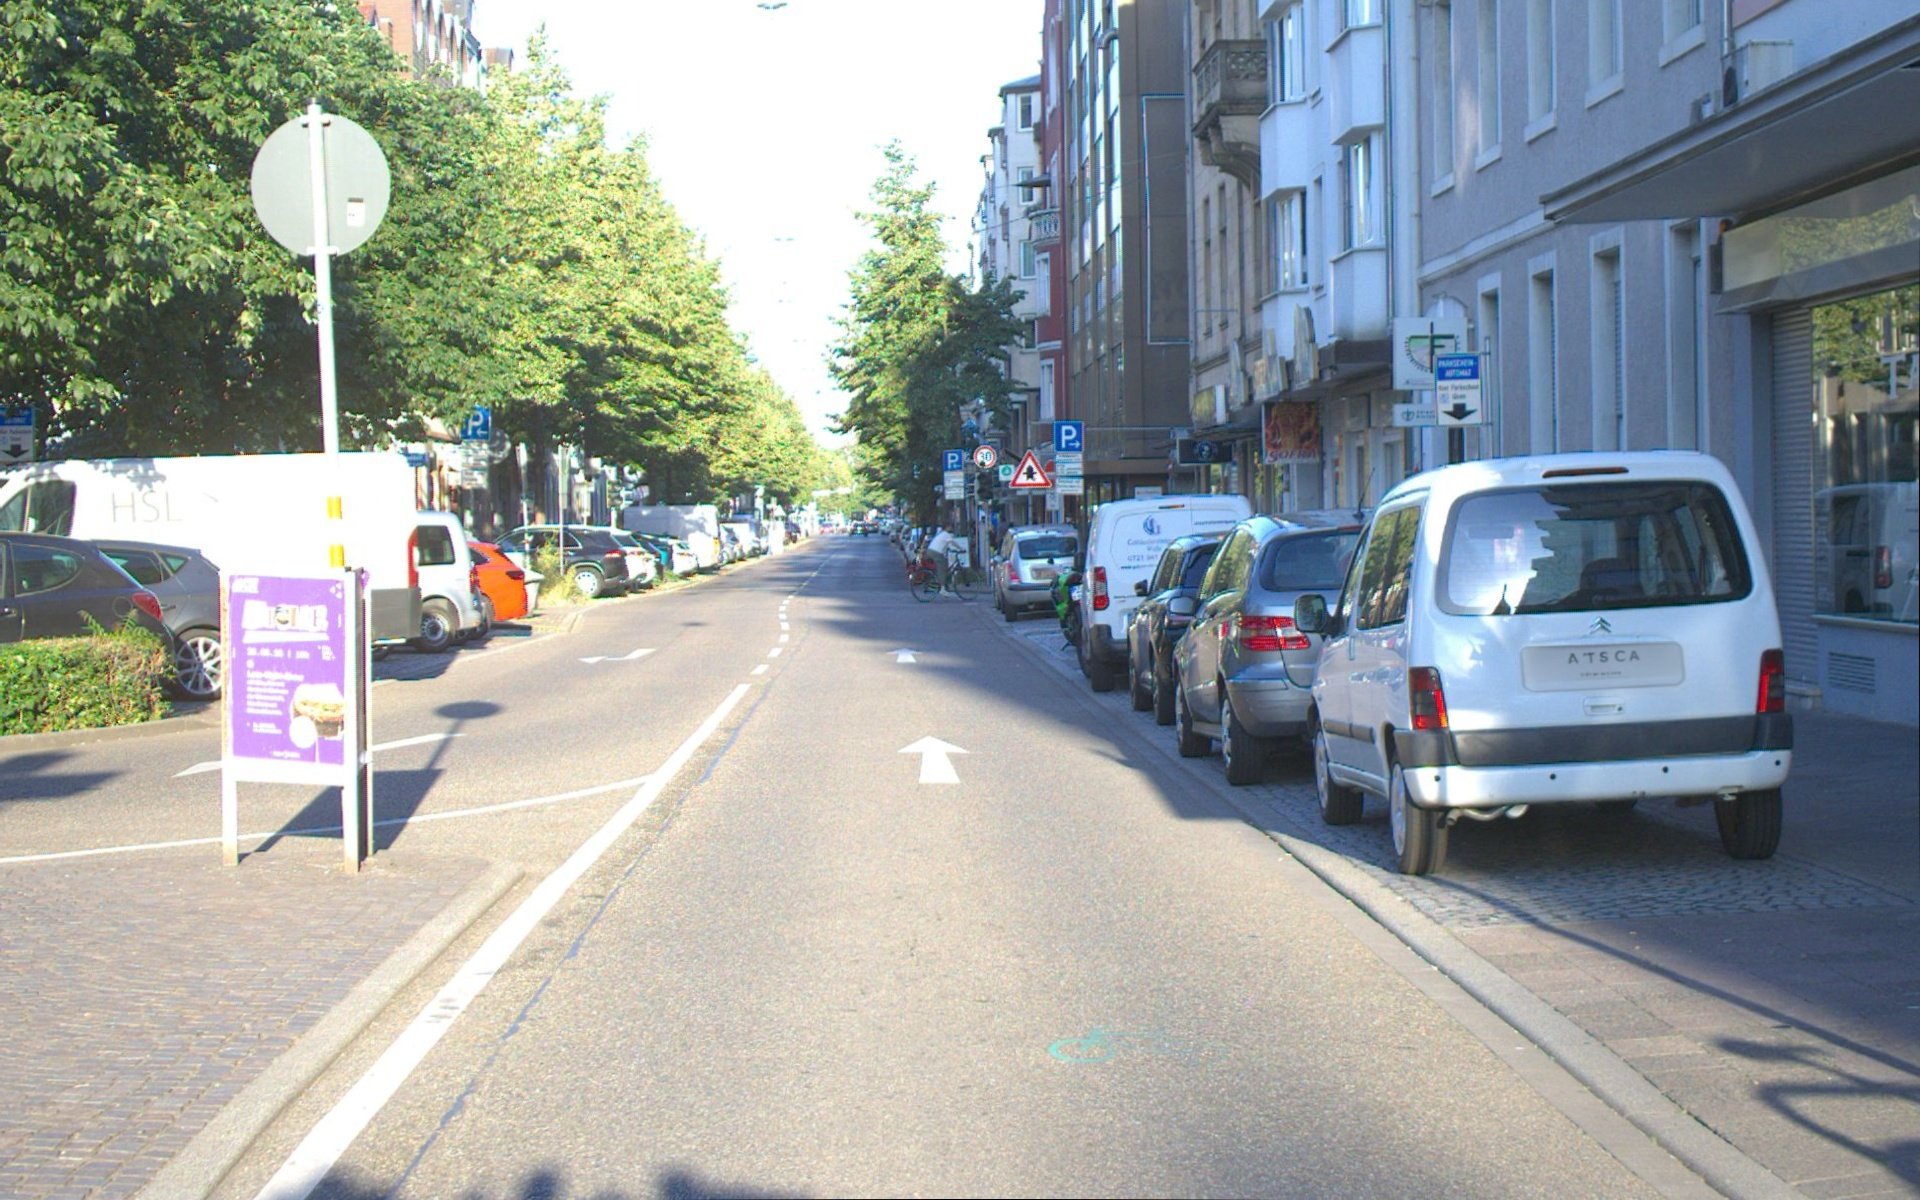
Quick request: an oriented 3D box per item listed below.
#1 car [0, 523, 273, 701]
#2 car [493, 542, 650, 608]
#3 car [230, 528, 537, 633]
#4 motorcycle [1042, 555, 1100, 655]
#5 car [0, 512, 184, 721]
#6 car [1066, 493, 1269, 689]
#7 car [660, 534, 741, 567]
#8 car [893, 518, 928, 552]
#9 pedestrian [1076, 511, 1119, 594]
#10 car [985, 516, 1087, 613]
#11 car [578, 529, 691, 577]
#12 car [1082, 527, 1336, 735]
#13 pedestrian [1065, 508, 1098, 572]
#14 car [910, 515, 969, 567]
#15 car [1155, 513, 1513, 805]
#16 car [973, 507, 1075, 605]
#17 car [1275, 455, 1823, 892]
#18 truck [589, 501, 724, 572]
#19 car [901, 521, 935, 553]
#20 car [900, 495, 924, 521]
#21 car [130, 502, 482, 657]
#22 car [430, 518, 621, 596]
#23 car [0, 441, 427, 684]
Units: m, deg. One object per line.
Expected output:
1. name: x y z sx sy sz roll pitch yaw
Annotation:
1. car: -8.213 0.081 29.964 3.989 1.481 1.832 -1 2 -41
2. car: -10.222 -0.665 90.629 3.989 1.702 1.833 0 2 -2
3. car: -8.468 -0.297 50.552 3.987 1.480 2.000 0 1 -30
4. motorcycle: 1.402 0.042 43.640 0.588 1.196 2.211 0 2 -2
5. car: -8.186 0.124 26.554 3.873 1.577 1.802 -2 2 -41
6. car: 2.007 -0.151 34.334 1.710 1.828 4.306 0 2 -1
7. car: -12.276 -2.343 162.744 3.739 1.487 2.000 1 1 -2
8. car: -1.932 -2.524 134.061 1.206 1.296 2.661 0 1 -4
9. pedestrian: 2.768 -0.967 69.218 0.755 1.634 1.259 0 2 -2
10. car: 1.319 -0.647 60.542 1.680 1.555 4.000 -2 2 1
11. car: -11.212 -1.633 118.609 3.739 1.590 2.000 1 1 -2
12. car: 1.962 0.197 28.070 1.667 1.539 3.883 0 2 -2
13. pedestrian: 3.248 -1.614 92.195 0.765 1.683 0.786 -2 2 -4
14. car: -0.652 -1.825 107.370 1.576 1.537 3.397 -3 1 -4
15. car: 2.263 0.287 21.754 1.656 1.659 4.109 0 2 -2
16. car: 1.193 -0.866 65.498 1.696 1.763 4.001 -1 2 -2
17. car: 2.631 0.260 16.297 1.792 1.785 4.092 -1 1 -1
18. truck: -11.438 -2.405 129.807 4.940 2.606 2.000 1 1 -2
19. car: -1.713 -2.560 139.423 1.206 1.296 2.661 0 1 -4
20. car: -2.910 -5.610 210.015 1.308 1.594 2.661 0 1 -4
21. car: -8.308 -0.298 43.800 3.988 1.871 1.871 -1 2 -37
22. car: -10.537 -1.053 83.643 4.448 1.828 2.034 0 2 -2
23. car: -7.770 -0.374 33.605 4.598 2.243 2.203 0 1 -28
